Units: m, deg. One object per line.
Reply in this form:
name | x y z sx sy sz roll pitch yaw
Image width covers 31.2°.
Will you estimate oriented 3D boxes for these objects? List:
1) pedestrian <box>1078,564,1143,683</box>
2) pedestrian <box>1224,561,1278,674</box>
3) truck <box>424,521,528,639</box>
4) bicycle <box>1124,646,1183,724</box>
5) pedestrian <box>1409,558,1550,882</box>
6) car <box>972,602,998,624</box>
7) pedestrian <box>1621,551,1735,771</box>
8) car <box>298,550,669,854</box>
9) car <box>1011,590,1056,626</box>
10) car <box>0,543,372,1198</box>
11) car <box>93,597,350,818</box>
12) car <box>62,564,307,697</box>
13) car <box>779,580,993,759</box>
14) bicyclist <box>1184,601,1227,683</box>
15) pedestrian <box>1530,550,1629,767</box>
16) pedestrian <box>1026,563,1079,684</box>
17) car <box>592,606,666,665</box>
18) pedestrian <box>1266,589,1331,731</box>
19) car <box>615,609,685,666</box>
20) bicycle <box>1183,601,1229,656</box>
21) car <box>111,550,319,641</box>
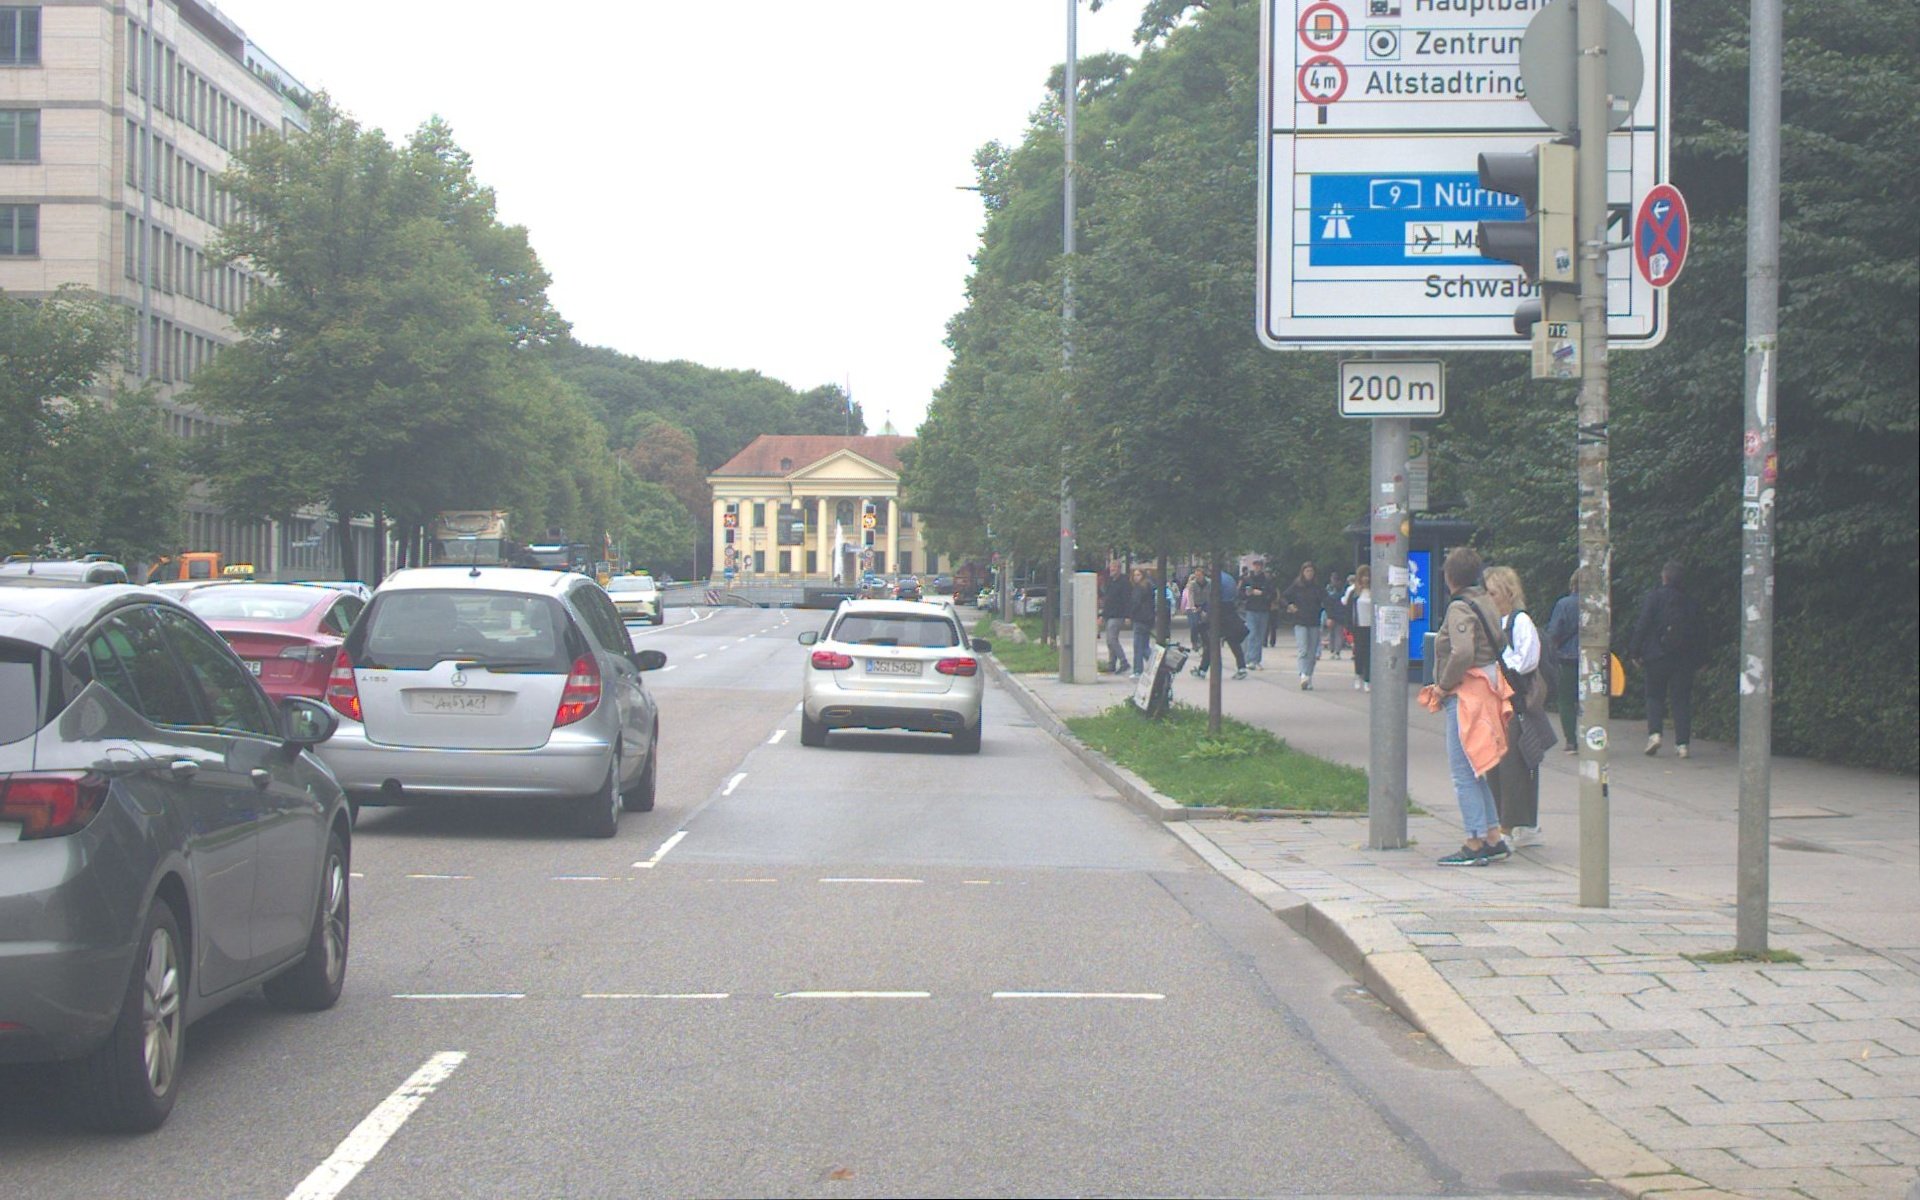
pedestrian | 2.409 0.374 55.132 0.805 1.874 0.543 2 0 35
pedestrian | 4.762 0.282 56.305 0.708 1.802 0.950 2 0 -1
truck | -16.332 -0.650 116.483 2.915 3.762 7.667 2 0 -5
bicycle | 2.127 0.929 37.859 0.493 0.791 1.889 2 0 0
pedestrian | 2.863 0.651 18.980 0.608 1.755 0.636 1 0 -6
car | 1.706 0.880 234.789 1.724 1.319 4.028 1 2 0
pedestrian | 6.153 0.520 29.475 0.751 1.833 0.756 2 0 0
car | -2.862 0.579 21.450 1.779 1.648 4.000 2 0 -1
car | 3.203 0.365 150.249 1.827 1.544 4.751 1 0 0
car | -2.923 0.615 10.153 1.710 1.547 4.000 2 0 -1
car | -6.115 0.839 28.832 1.779 1.648 4.001 2 0 -8
car | -8.847 0.328 39.584 1.767 1.418 4.747 -1 0 0
car | -0.810 0.664 34.781 1.779 1.639 4.001 2 0 -6
bicyclist | 4.766 0.807 66.731 0.708 1.556 0.639 2 0 -1
pedestrian | 5.370 0.503 29.809 0.671 1.833 0.641 2 0 0
pedestrian | 1.405 0.349 52.289 0.708 1.802 0.639 2 0 -1
car | -10.149 1.068 105.688 1.857 1.743 4.630 0 0 0
pedestrian | 4.659 0.818 47.314 0.708 1.909 0.956 2 0 -1
car | -9.867 1.175 109.660 1.820 1.722 3.881 2 0 0
bicycle | 4.768 0.544 66.692 0.675 1.027 2.013 2 0 -1
car | -21.737 -0.128 100.491 5.679 2.528 2.157 1 0 -4
